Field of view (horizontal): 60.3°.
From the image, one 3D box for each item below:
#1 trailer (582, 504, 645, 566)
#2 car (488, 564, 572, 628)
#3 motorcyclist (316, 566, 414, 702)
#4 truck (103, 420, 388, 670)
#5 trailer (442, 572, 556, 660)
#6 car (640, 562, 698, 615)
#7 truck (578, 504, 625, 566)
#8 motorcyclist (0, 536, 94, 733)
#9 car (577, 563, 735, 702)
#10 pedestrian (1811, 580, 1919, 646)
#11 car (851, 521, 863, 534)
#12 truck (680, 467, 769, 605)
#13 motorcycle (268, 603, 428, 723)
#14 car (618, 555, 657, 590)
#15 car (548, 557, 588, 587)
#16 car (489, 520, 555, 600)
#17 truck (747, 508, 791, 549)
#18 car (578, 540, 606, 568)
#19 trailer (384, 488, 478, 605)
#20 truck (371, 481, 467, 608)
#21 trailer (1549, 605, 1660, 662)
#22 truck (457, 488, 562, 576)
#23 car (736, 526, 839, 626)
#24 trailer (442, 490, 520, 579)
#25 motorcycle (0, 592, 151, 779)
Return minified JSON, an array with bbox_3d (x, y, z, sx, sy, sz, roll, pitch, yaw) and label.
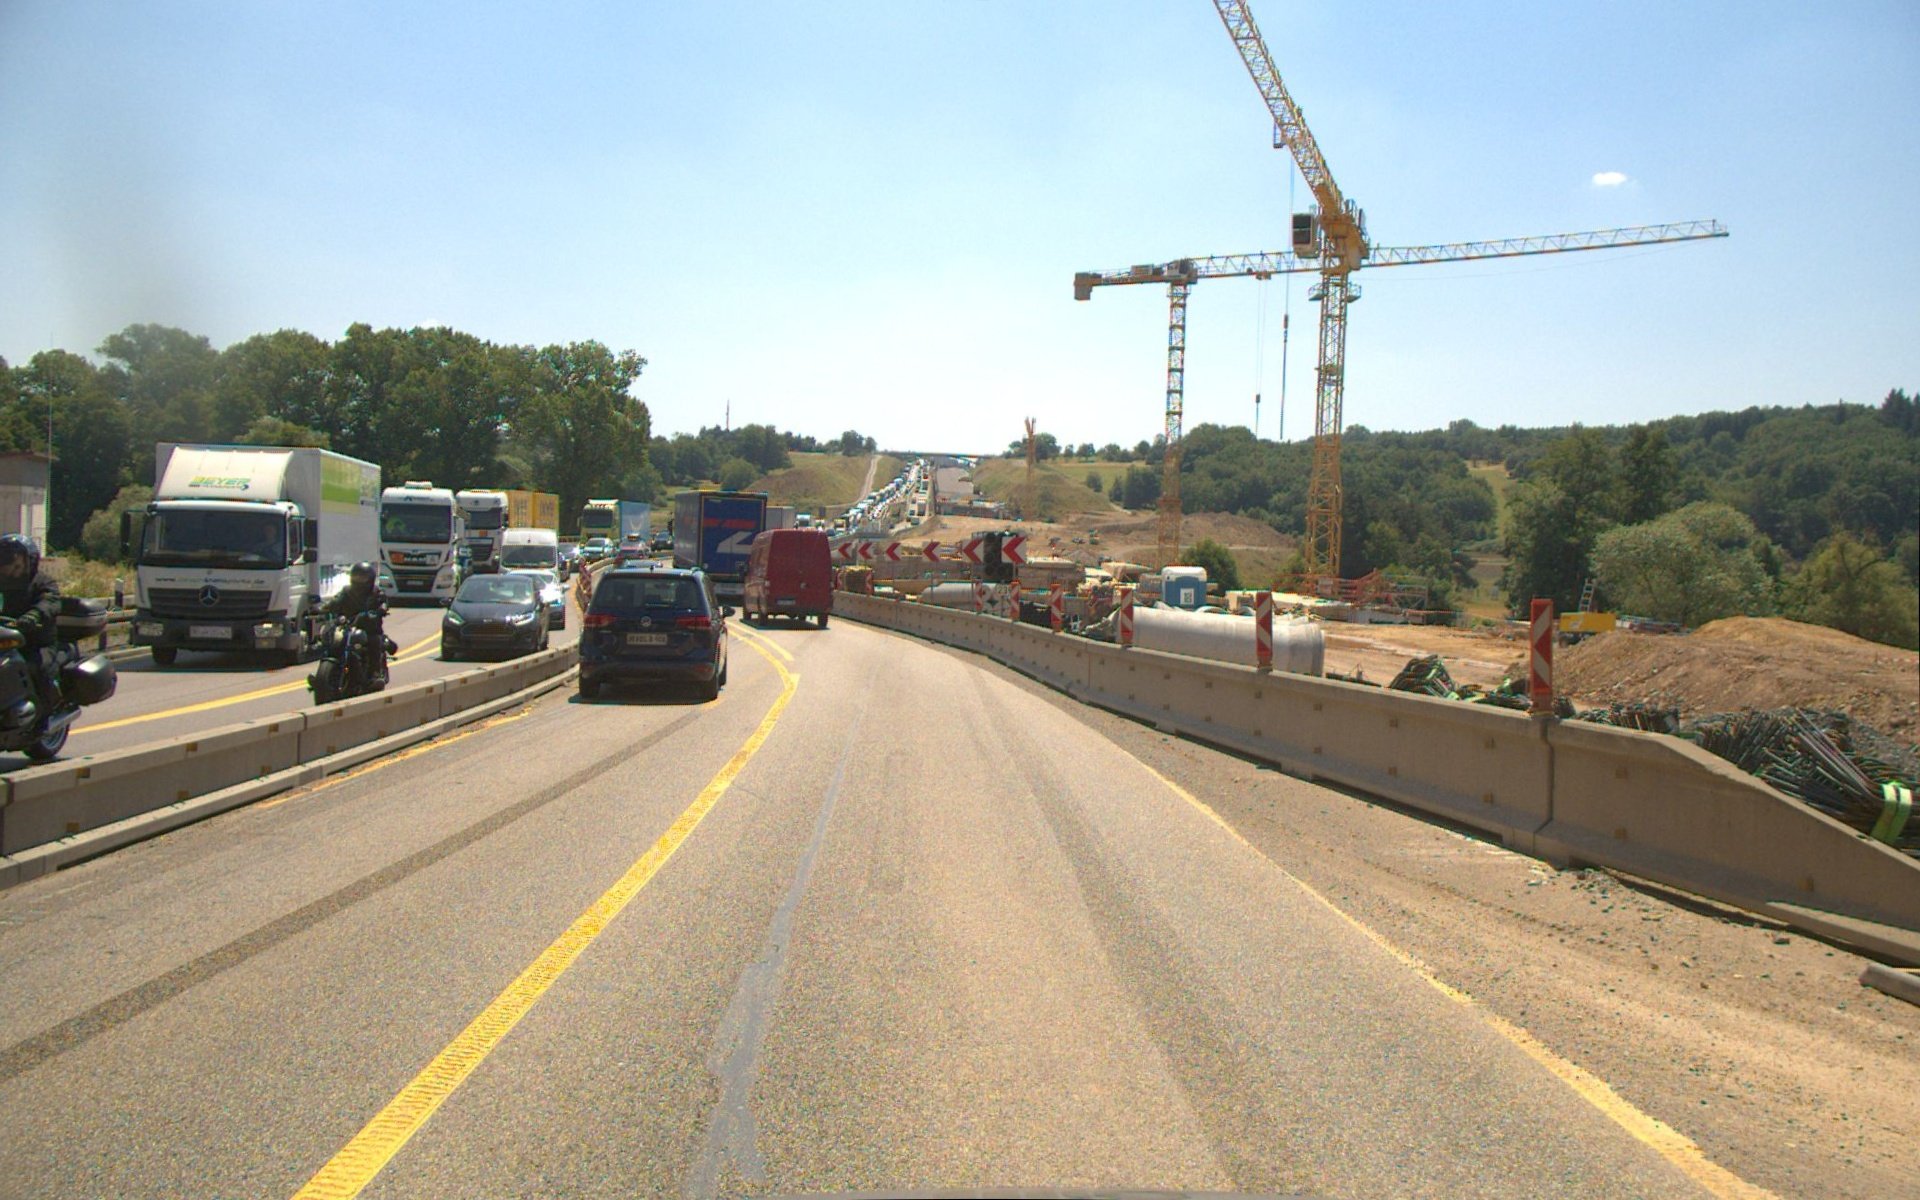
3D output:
[{"bbox_3d":[-26.407,-4.887,126.762,2.595,4.366,13.302,2,1,-3],"label":"trailer"},{"bbox_3d":[-11.044,-0.152,42.735,1.812,1.489,4.511,1,1,-11],"label":"car"},{"bbox_3d":[-6.520,0.372,18.159,0.794,1.441,0.742,1,-2,-3],"label":"motorcyclist"},{"bbox_3d":[-12.064,-0.860,28.798,2.767,3.638,8.474,1,0,-12],"label":"truck"},{"bbox_3d":[-8.303,0.272,30.036,1.634,1.456,3.989,1,0,-11],"label":"trailer"},{"bbox_3d":[-9.778,-0.412,55.811,1.800,1.664,4.380,1,1,-9],"label":"car"},{"bbox_3d":[-25.960,-4.690,119.992,2.574,4.344,4.728,2,1,-5],"label":"truck"},{"bbox_3d":[-7.096,0.255,12.480,0.704,1.441,0.742,1,-2,-3],"label":"motorcyclist"},{"bbox_3d":[-4.015,0.369,22.403,1.700,1.664,4.384,1,1,-6],"label":"car"},{"bbox_3d":[29.658,0.458,53.651,1.953,2.049,3.998,1,-1,-2],"label":"pedestrian"},{"bbox_3d":[-14.770,-10.433,238.267,1.585,1.729,3.889,2,2,-2],"label":"car"},{"bbox_3d":[-9.284,-2.498,64.576,2.893,5.031,6.722,1,2,-12],"label":"truck"},{"bbox_3d":[-6.507,0.630,17.759,0.816,1.170,2.788,1,0,-4],"label":"motorcycle"},{"bbox_3d":[-15.880,-1.365,81.642,1.800,1.664,4.096,1,1,-10],"label":"car"},{"bbox_3d":[-20.533,-1.496,86.654,1.645,1.385,4.495,2,2,-9],"label":"car"},{"bbox_3d":[-14.970,-1.315,56.784,2.036,2.547,6.460,1,0,-14],"label":"car"},{"bbox_3d":[-17.076,-6.361,148.299,3.119,3.029,8.895,1,-1,-2],"label":"truck"},{"bbox_3d":[-22.224,-2.822,100.020,1.608,1.511,3.989,1,3,-12],"label":"car"},{"bbox_3d":[-19.355,-1.886,60.989,2.483,3.855,10.208,2,0,-14],"label":"trailer"},{"bbox_3d":[-17.830,-1.794,54.742,2.491,3.888,4.933,2,0,-14],"label":"truck"},{"bbox_3d":[19.310,0.977,49.715,1.592,1.512,3.823,2,0,-4],"label":"trailer"},{"bbox_3d":[-24.914,-3.735,92.326,2.752,4.417,15.362,2,2,-5],"label":"truck"},{"bbox_3d":[-5.023,-0.703,47.537,2.114,2.656,5.418,1,1,-15],"label":"car"},{"bbox_3d":[-24.130,-3.271,83.519,2.811,4.303,5.213,1,1,-6],"label":"trailer"},{"bbox_3d":[-7.099,0.596,12.485,0.688,1.301,2.734,1,0,-2],"label":"motorcycle"}]
